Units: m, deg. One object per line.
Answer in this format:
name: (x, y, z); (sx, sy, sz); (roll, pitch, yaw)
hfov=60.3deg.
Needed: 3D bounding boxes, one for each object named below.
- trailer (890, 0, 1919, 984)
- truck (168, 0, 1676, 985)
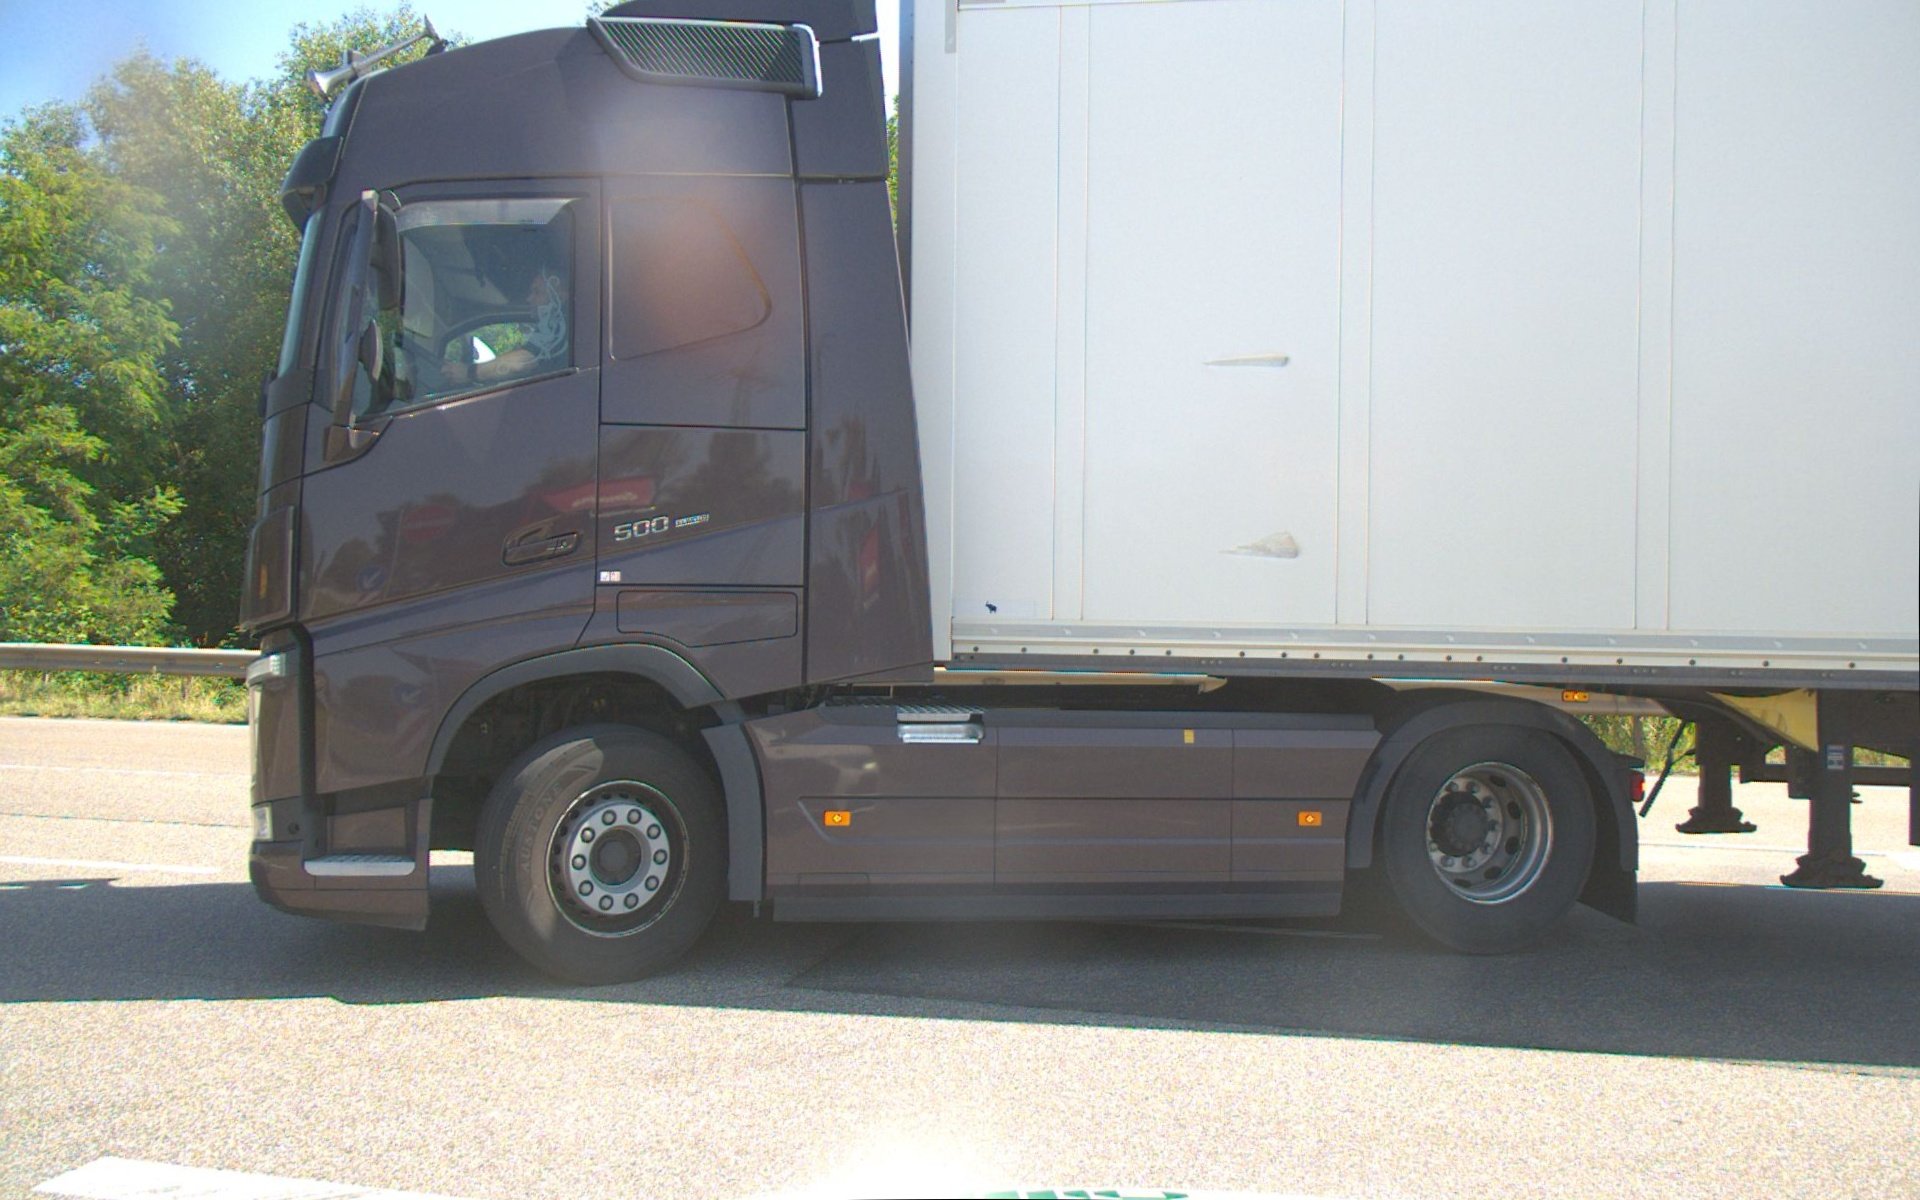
trailer: (6.685, -0.646, 7.296); (13.637, 4.238, 2.899); (1, 0, 9)
truck: (-0.134, -0.717, 7.816); (5.842, 4.246, 2.873); (1, 0, -10)
